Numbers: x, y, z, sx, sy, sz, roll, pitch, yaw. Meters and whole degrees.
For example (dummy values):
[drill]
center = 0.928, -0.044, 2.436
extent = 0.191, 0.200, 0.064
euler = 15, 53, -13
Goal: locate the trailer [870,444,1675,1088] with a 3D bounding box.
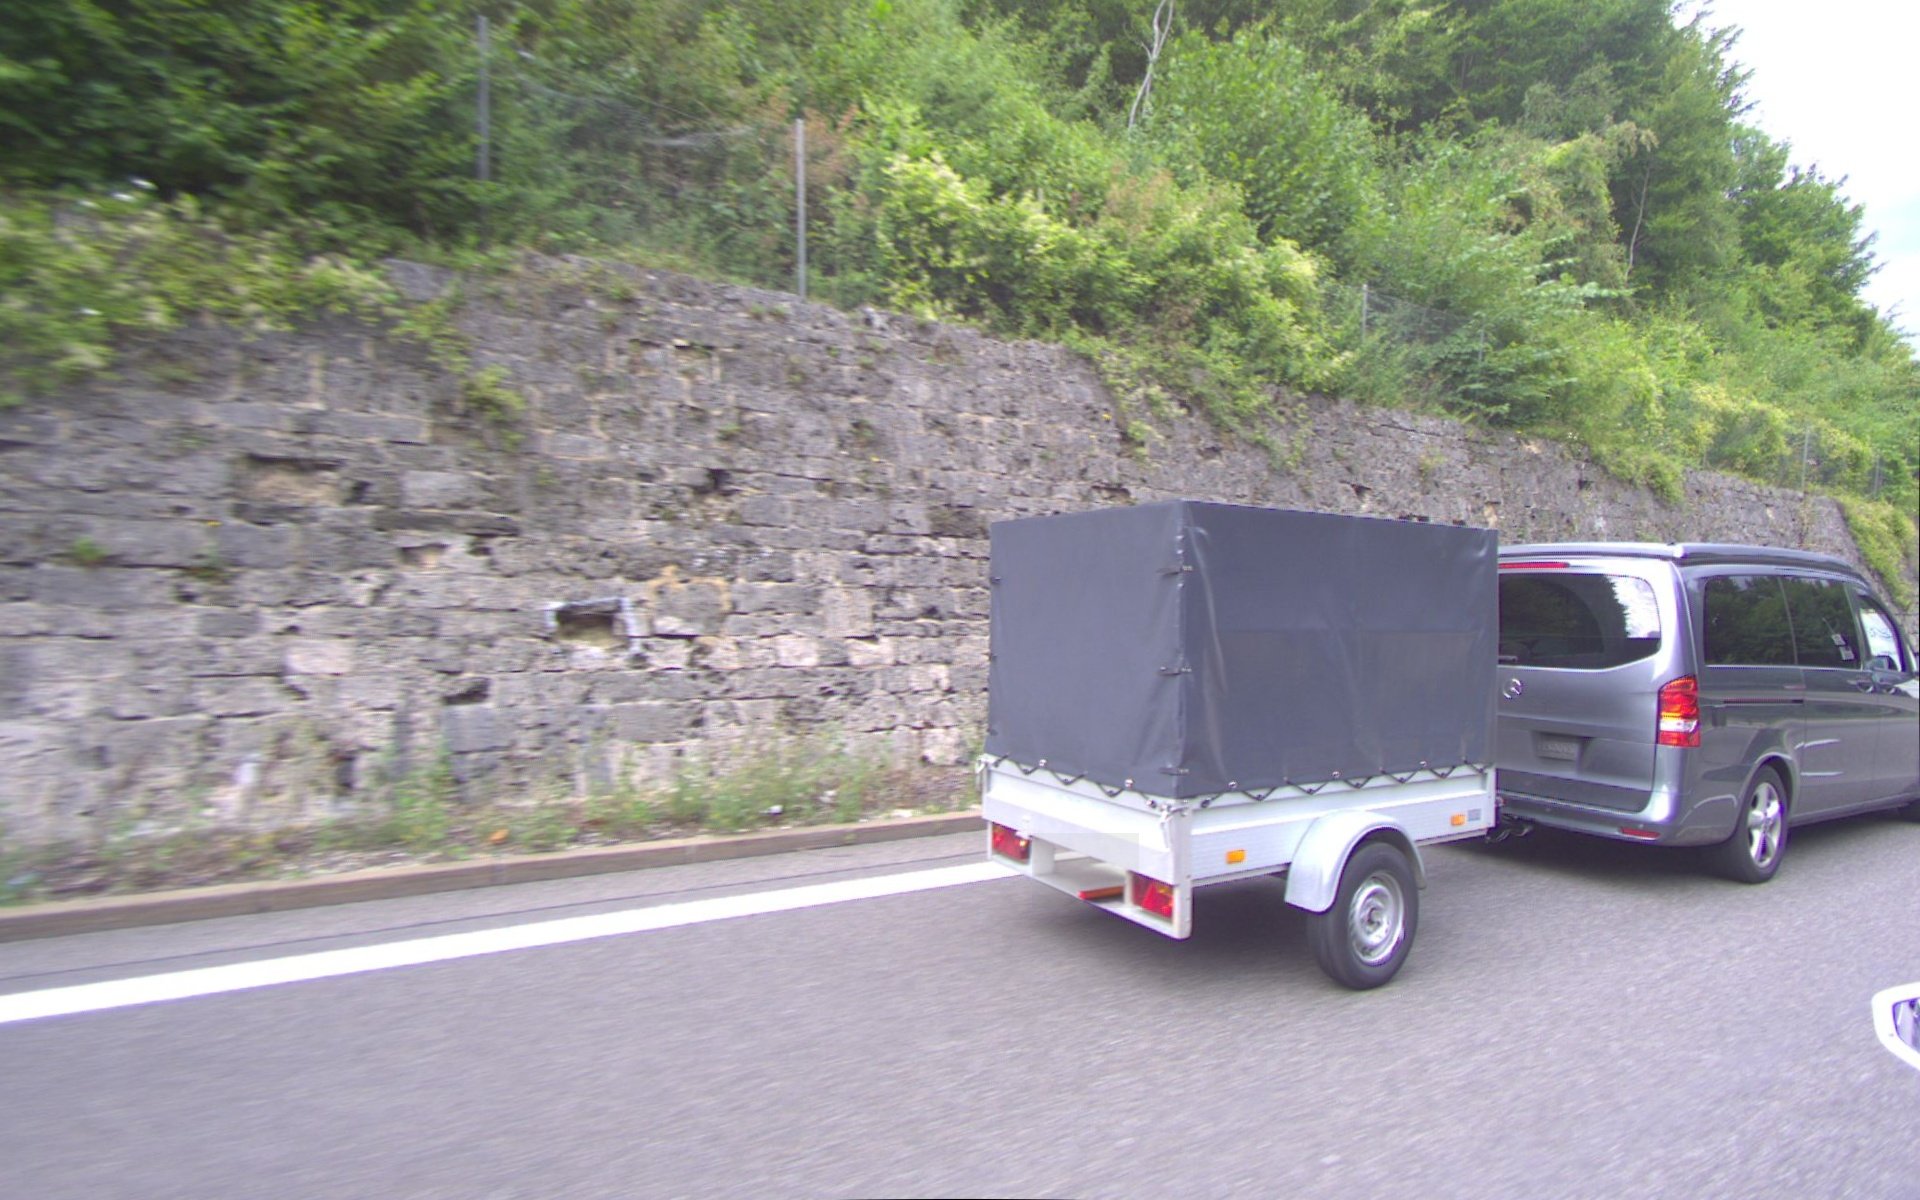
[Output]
[trailer]
center = 1.525, 0.525, 4.812
extent = 3.392, 1.965, 1.960
euler = 1, 0, -32

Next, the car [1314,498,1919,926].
[car]
center = 5.120, 0.562, 7.097
extent = 5.479, 2.040, 1.983
euler = 1, 0, -32
